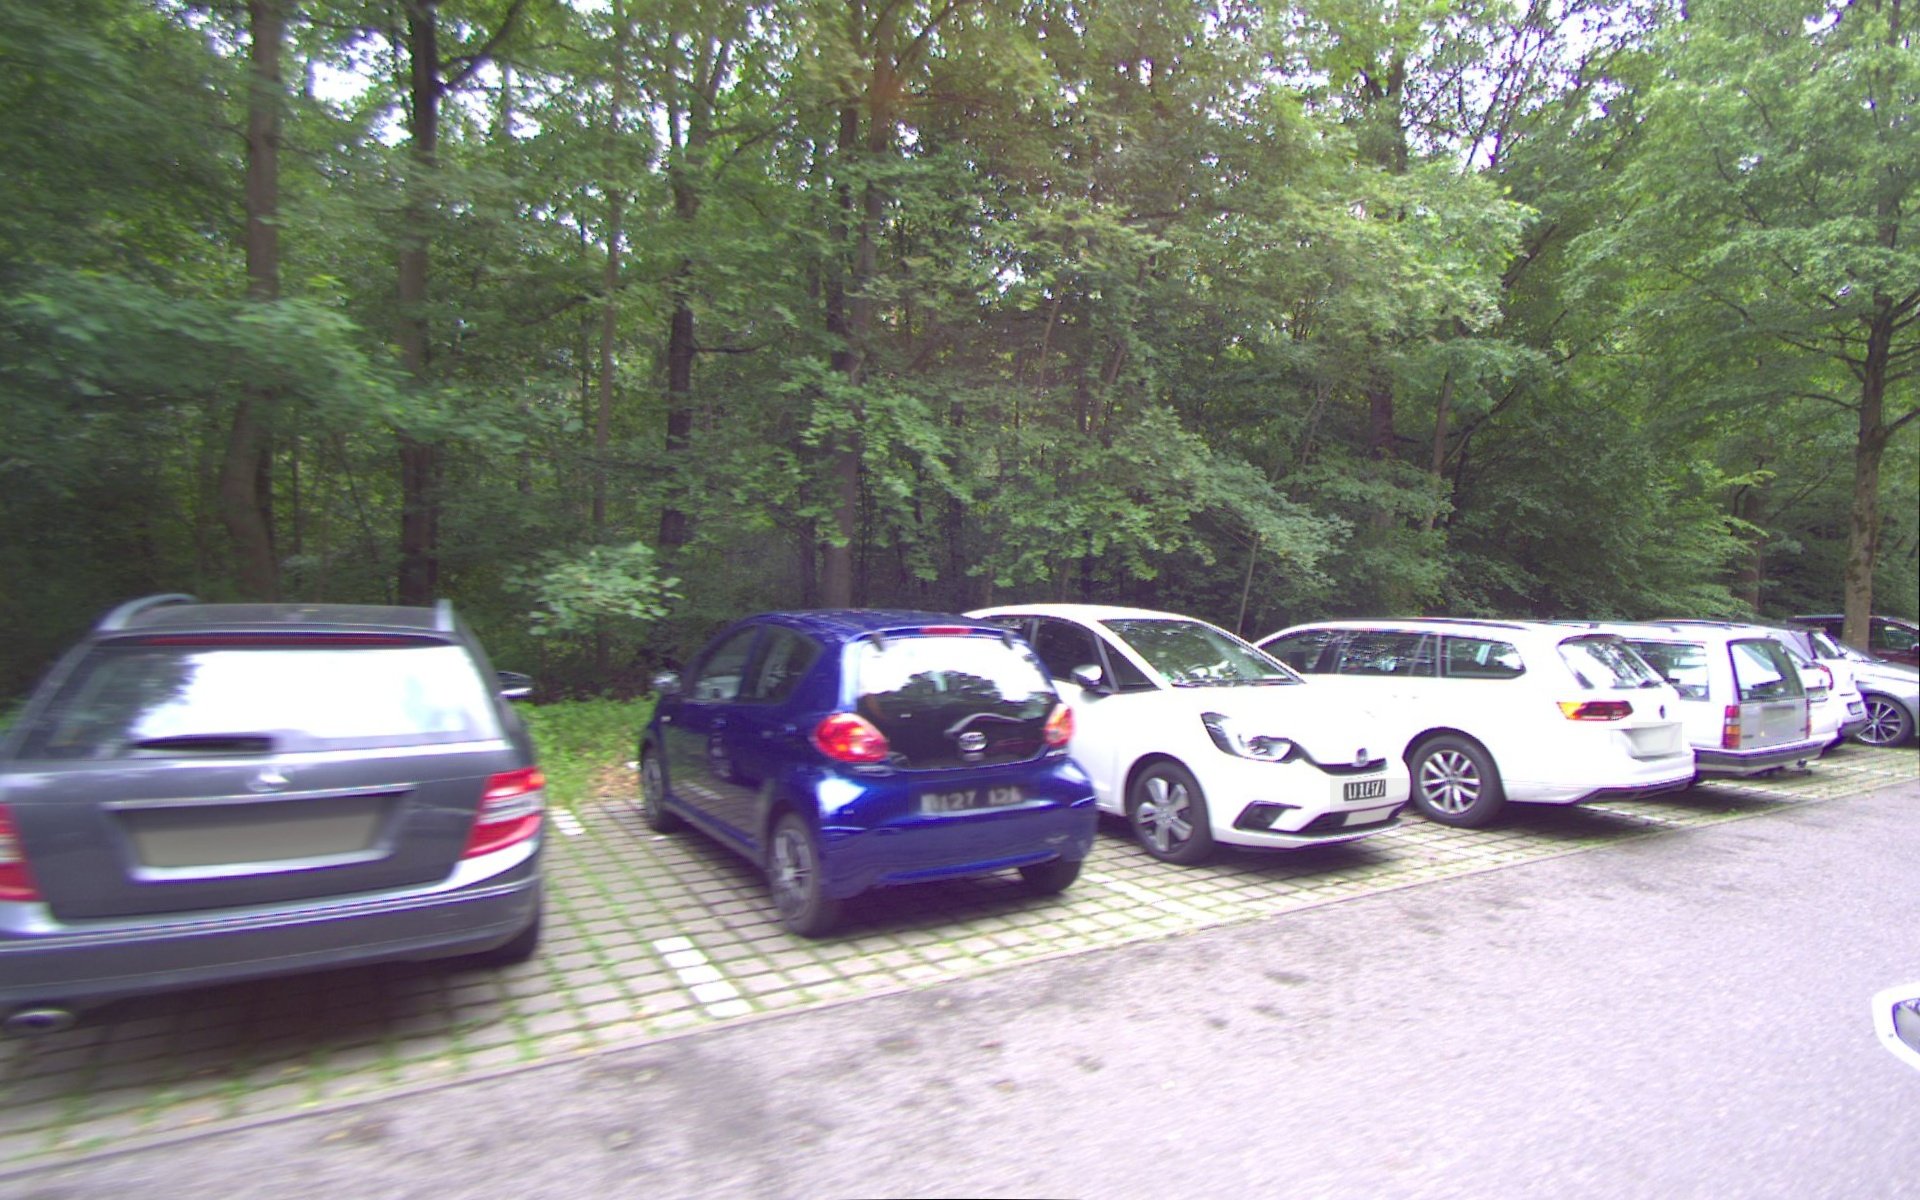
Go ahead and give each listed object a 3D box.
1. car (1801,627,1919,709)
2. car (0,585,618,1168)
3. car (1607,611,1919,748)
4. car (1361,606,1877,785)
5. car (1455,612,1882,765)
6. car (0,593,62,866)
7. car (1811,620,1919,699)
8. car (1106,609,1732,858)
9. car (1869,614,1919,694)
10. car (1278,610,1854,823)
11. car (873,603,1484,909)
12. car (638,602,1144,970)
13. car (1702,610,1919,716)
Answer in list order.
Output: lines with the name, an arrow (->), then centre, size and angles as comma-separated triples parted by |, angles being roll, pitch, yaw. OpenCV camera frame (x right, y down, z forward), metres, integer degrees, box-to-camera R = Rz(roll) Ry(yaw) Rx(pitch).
car -> 17.943, 1.260, 18.073 | 1.768, 1.382, 3.962 | 1, 1, -34
car -> -3.026, 0.708, 4.728 | 2.032, 1.506, 4.248 | 1, 0, -28
car -> 11.583, 0.998, 13.891 | 1.900, 1.576, 4.009 | 1, 0, -34
car -> 7.179, 0.888, 11.479 | 1.920, 1.506, 4.535 | 1, 1, -33
car -> 9.027, 0.994, 13.137 | 1.830, 1.571, 4.203 | 1, 0, -37
car -> -5.285, 0.672, 3.894 | 1.733, 1.406, 3.743 | 1, 0, -27
car -> 19.665, 1.202, 19.841 | 1.778, 1.484, 4.002 | 1, 0, -31
car -> 3.590, 0.866, 8.712 | 2.065, 1.467, 4.532 | 1, 0, -35
car -> 21.822, 1.206, 20.688 | 2.007, 1.655, 4.200 | 1, 1, -32
car -> 5.569, 0.907, 9.922 | 1.849, 1.506, 4.538 | 1, 0, -31
car -> 1.231, 0.824, 7.444 | 1.872, 1.506, 4.338 | 2, 0, -34
car -> -0.639, 0.782, 5.928 | 1.662, 1.463, 3.200 | 1, 0, -32
car -> 15.477, 1.030, 16.848 | 1.906, 1.605, 4.488 | 1, 0, -33
